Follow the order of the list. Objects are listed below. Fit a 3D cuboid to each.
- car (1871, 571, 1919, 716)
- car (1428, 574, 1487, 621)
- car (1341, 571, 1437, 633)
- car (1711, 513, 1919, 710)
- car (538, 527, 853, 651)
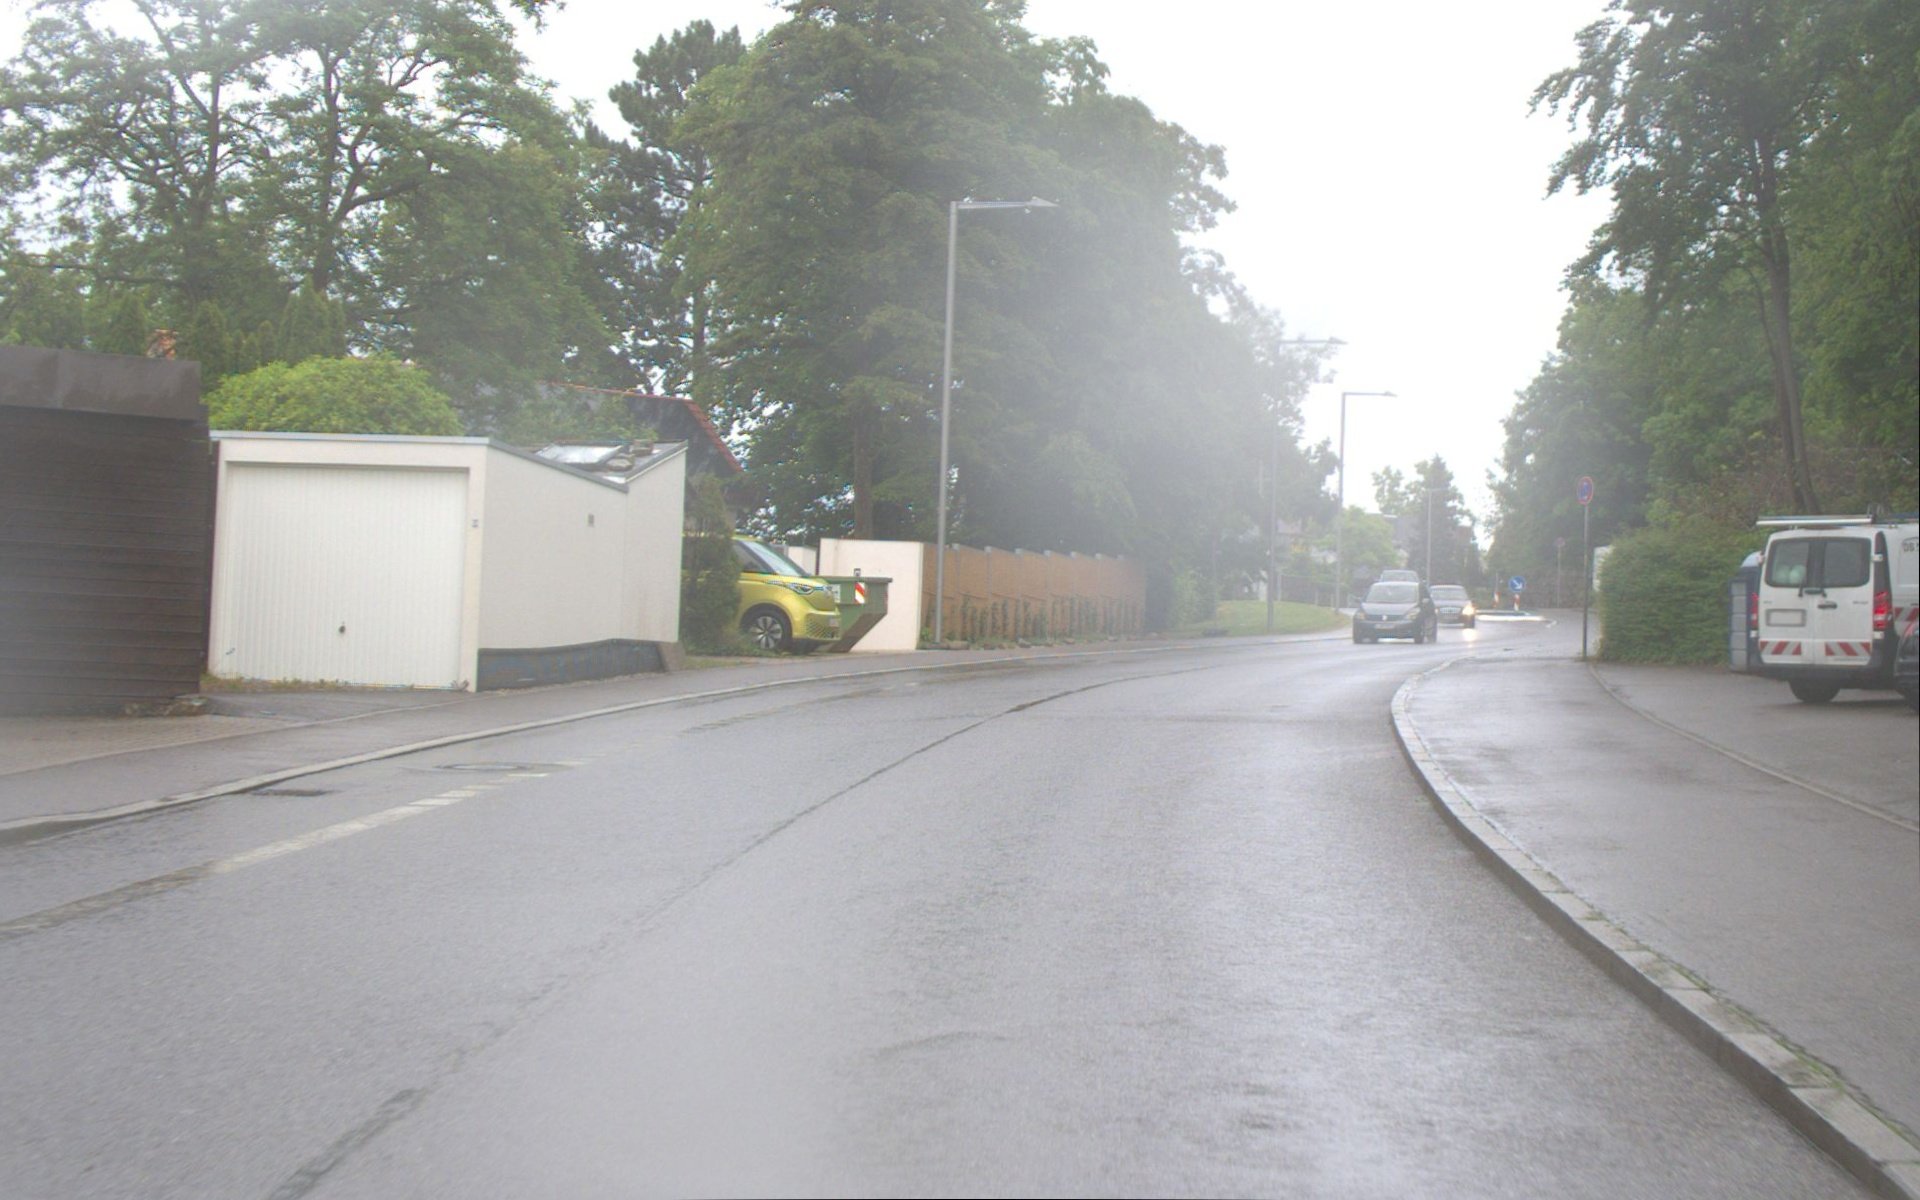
[{"bbox_3d":[10.575,0.395,32.581,3.784,1.344,1.762,0,1,-36],"label":"car"},{"bbox_3d":[16.741,-0.095,115.542,1.835,1.506,4.167,1,0,10],"label":"car"},{"bbox_3d":[11.018,0.041,88.013,1.835,1.506,4.614,1,0,15],"label":"car"},{"bbox_3d":[10.356,0.089,36.075,4.827,1.934,2.156,0,1,-36],"label":"car"},{"bbox_3d":[-4.139,-0.188,54.093,4.506,1.853,2.088,1,1,14],"label":"car"}]
